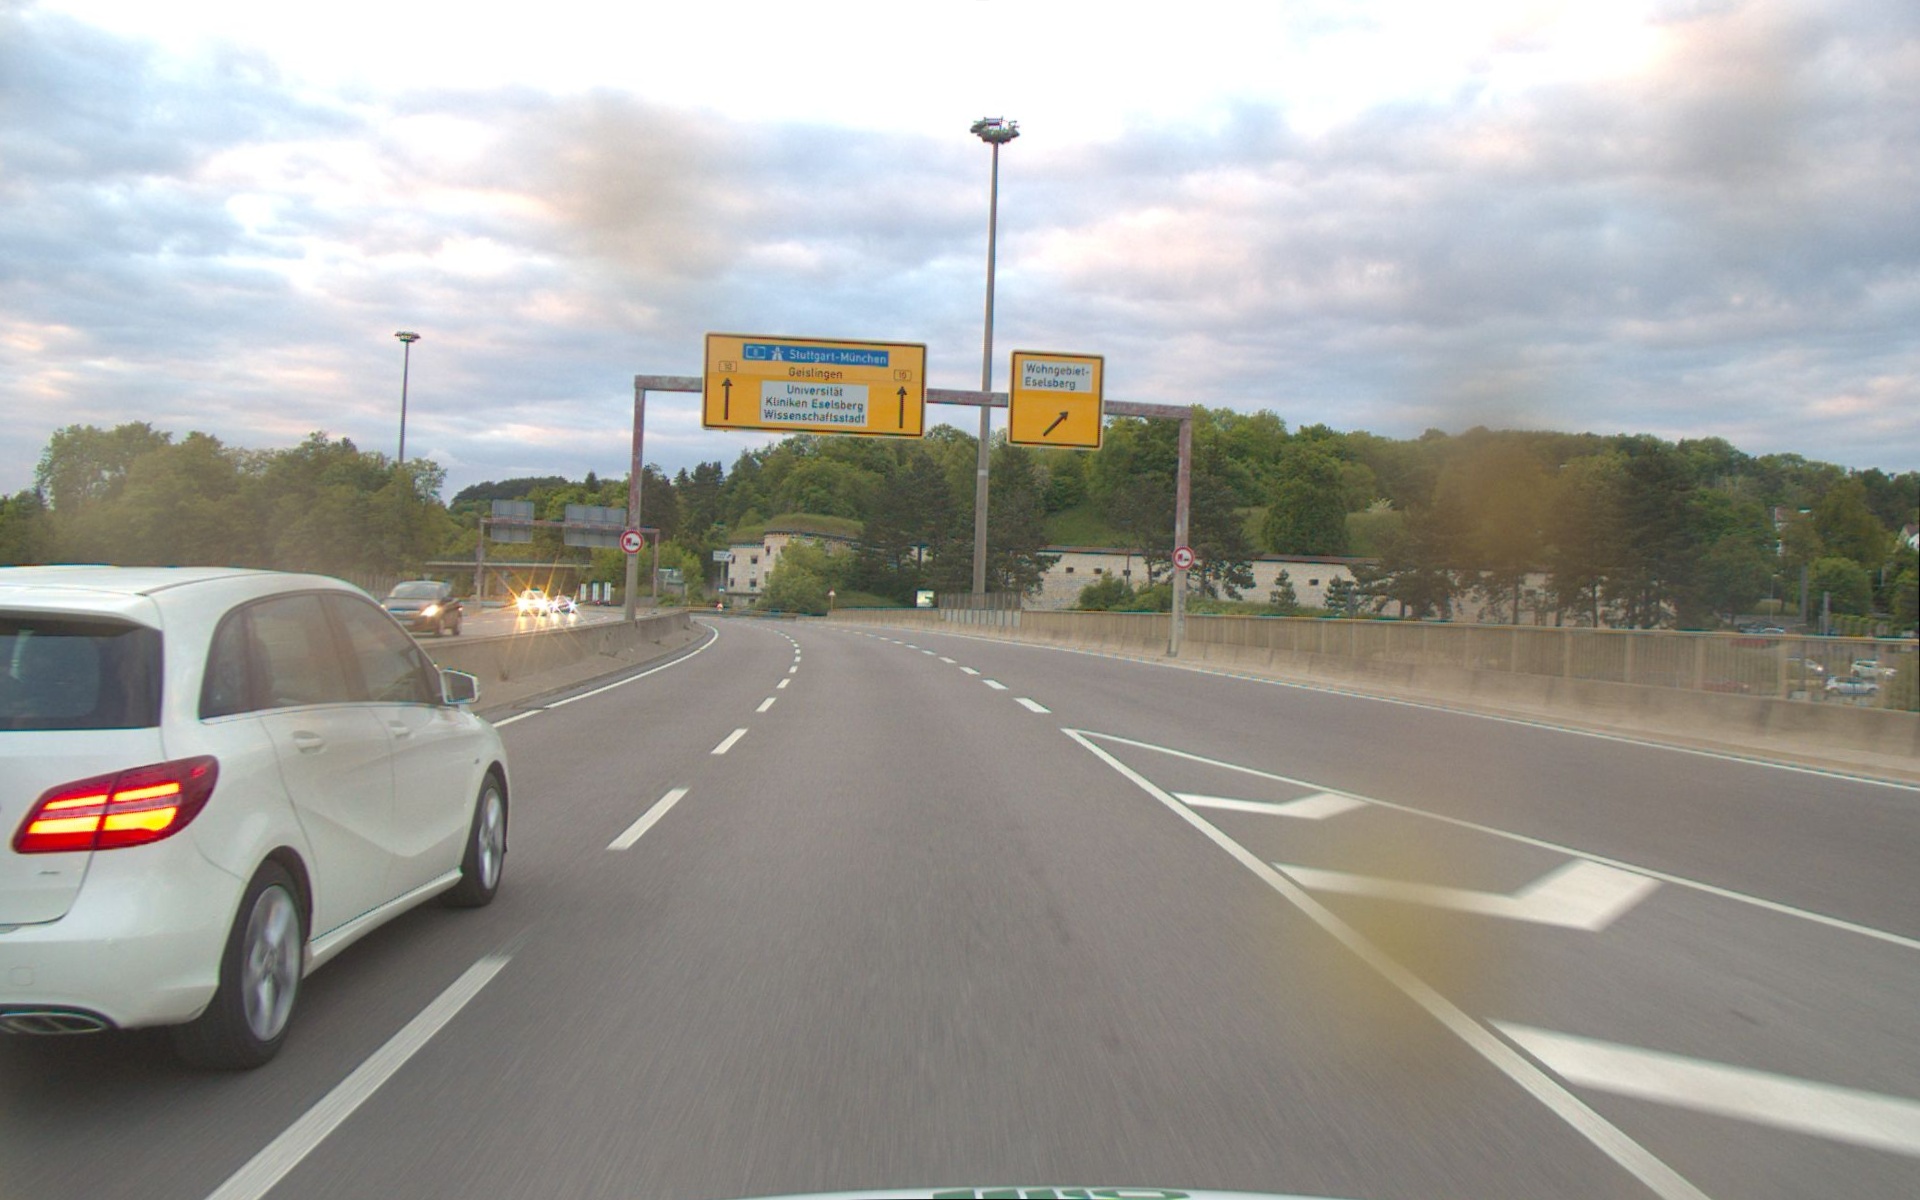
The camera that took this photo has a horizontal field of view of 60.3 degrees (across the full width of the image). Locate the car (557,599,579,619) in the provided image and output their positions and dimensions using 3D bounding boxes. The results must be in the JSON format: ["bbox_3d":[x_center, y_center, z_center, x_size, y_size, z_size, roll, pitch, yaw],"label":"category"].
[{"bbox_3d":[-32.883,0.738,138.740,1.638,1.671,3.989,1,0,-11],"label":"car"}]

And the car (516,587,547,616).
[{"bbox_3d":[-27.423,0.108,105.813,1.638,1.763,3.989,2,-1,-11],"label":"car"}]

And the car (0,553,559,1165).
[{"bbox_3d":[-2.949,0.653,6.600,1.657,1.564,4.781,1,0,-2],"label":"car"}]

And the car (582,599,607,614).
[{"bbox_3d":[-47.940,0.847,216.967,1.973,1.870,3.957,3,-2,-31],"label":"car"}]

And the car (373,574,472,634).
[{"bbox_3d":[-14.511,0.095,44.858,1.697,1.502,4.218,1,0,-6],"label":"car"}]
